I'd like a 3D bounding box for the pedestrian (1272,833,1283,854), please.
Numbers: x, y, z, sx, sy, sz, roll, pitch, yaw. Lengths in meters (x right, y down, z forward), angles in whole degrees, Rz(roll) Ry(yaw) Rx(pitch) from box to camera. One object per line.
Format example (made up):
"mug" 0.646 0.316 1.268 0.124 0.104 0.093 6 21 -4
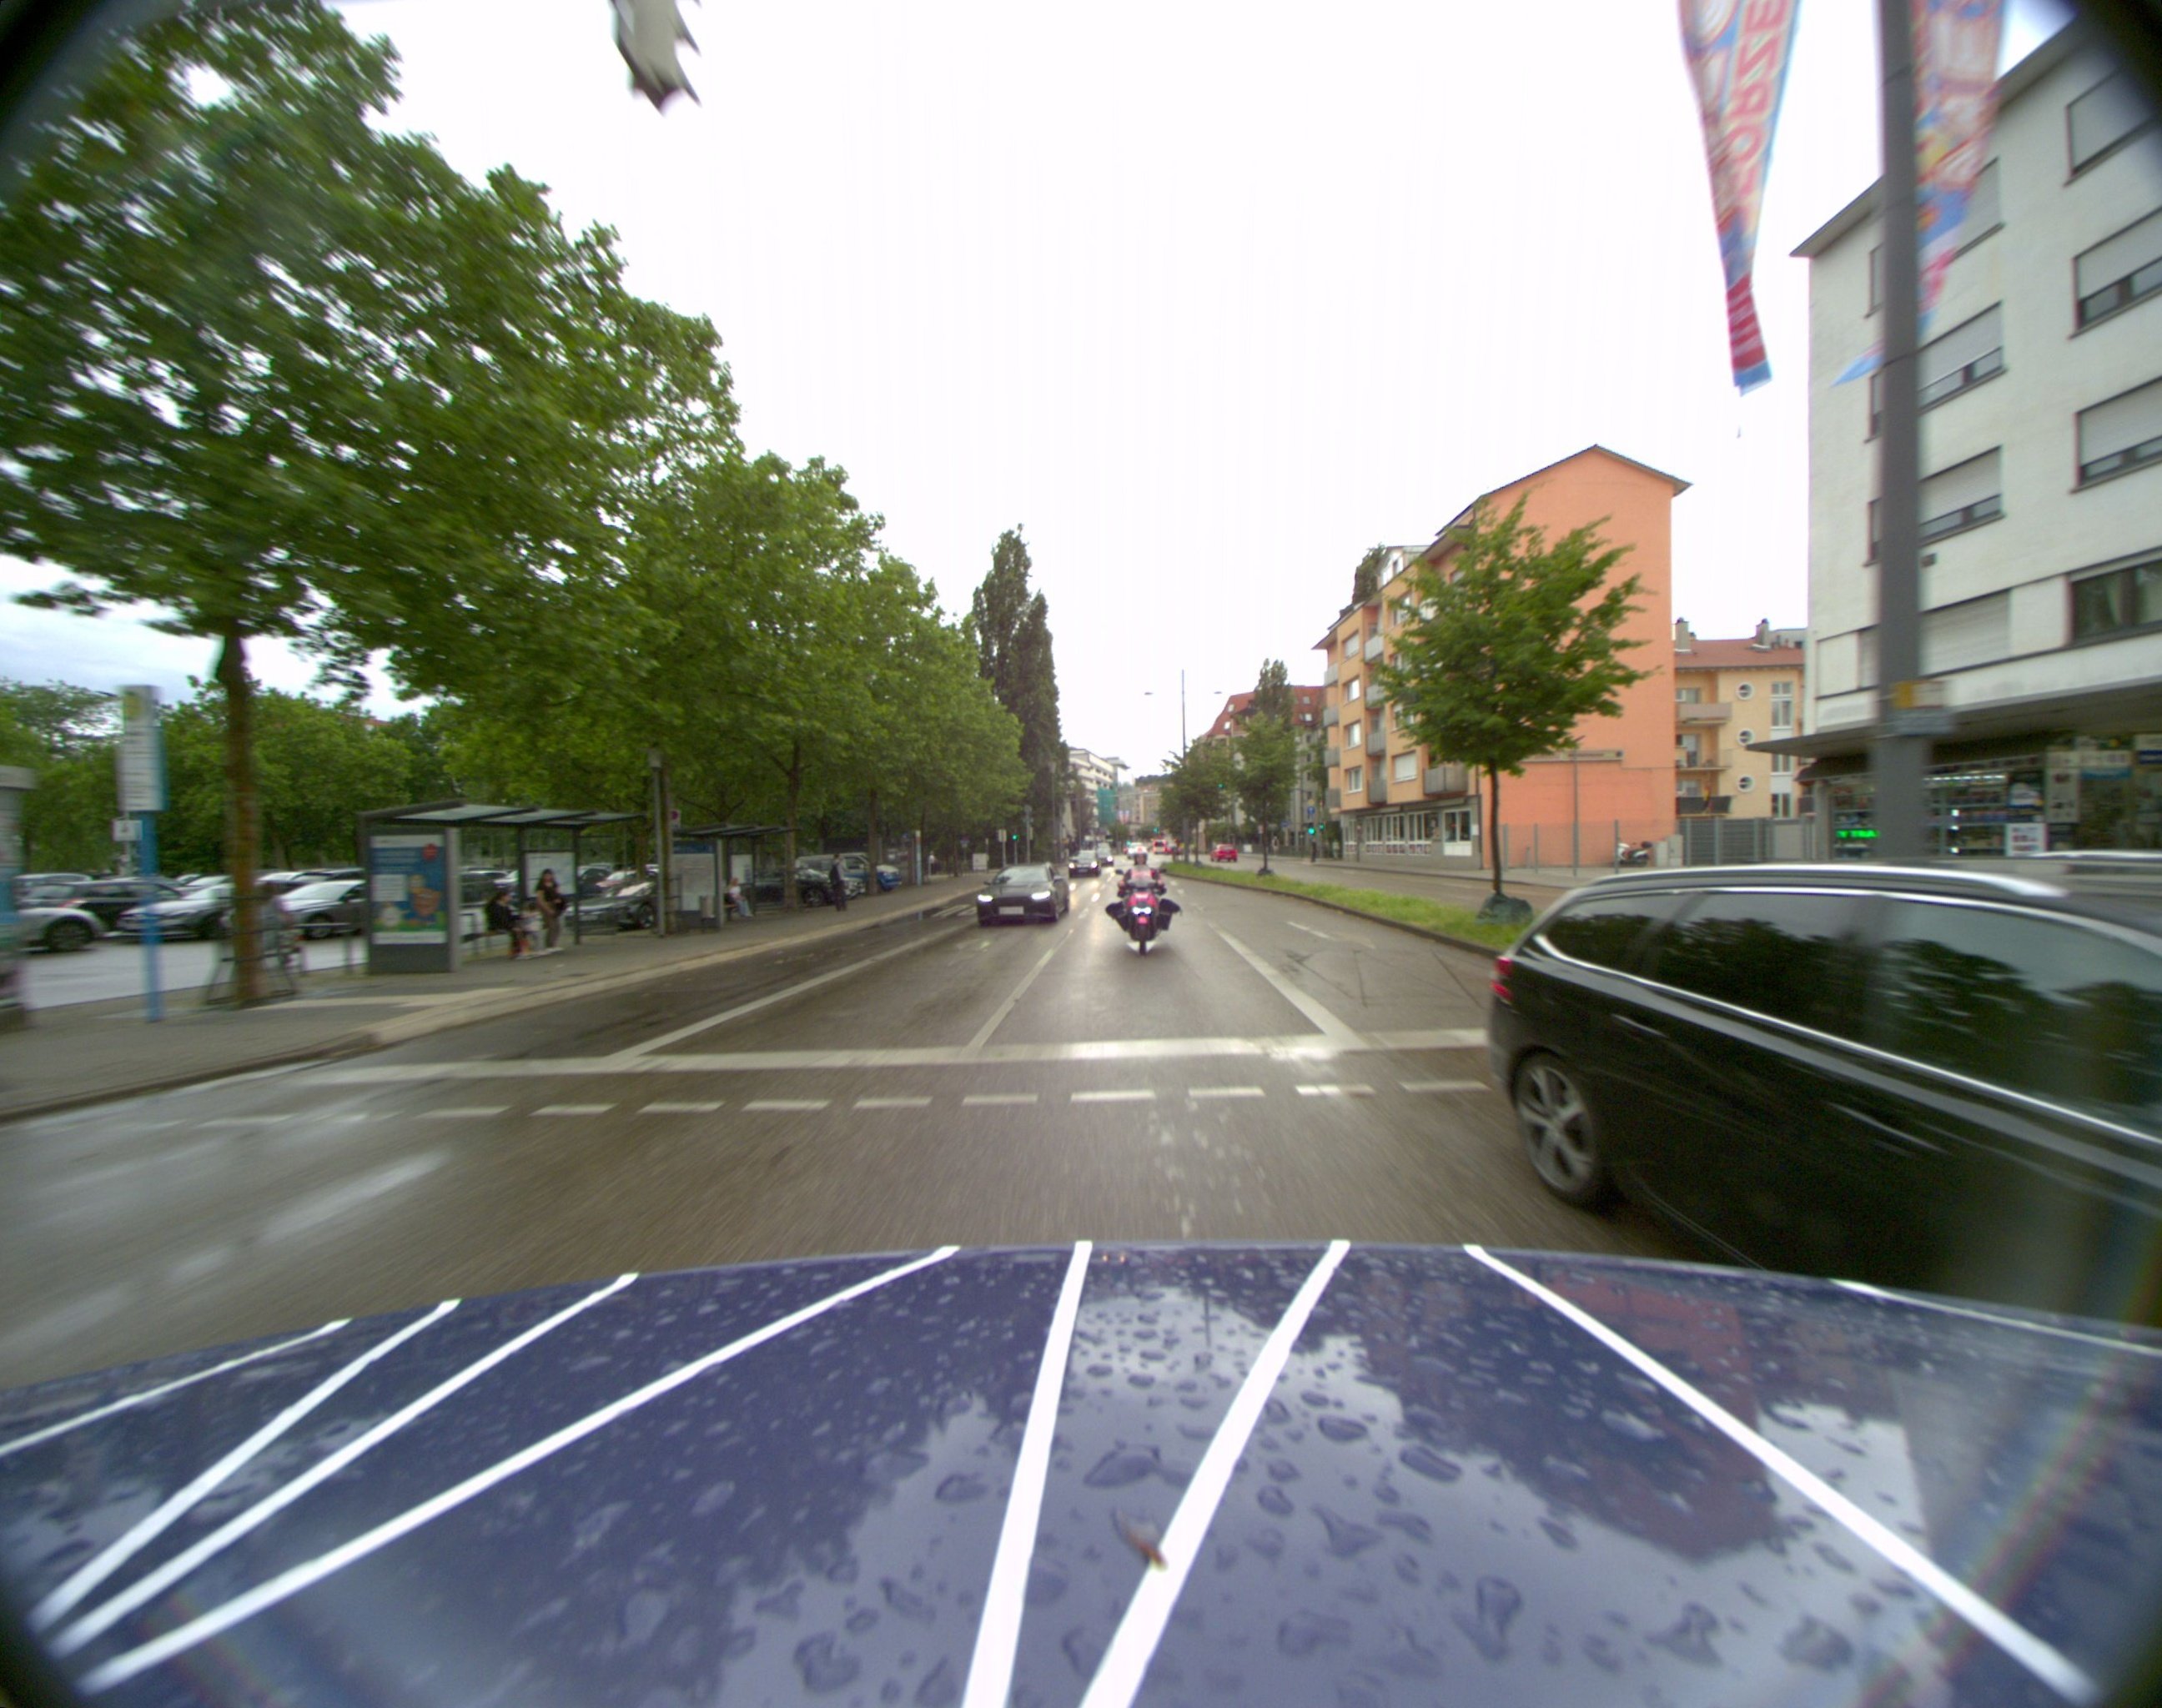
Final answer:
"pedestrian" 18.046 -0.951 69.734 0.746 1.876 0.800 -1 1 -2

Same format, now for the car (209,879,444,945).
"car" -19.518 1.434 20.001 1.737 1.431 4.445 0 0 0

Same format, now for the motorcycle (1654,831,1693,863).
"motorcycle" 27.829 -0.336 35.703 1.467 1.454 0.397 1 2 1

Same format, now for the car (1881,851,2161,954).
"car" 15.396 0.661 11.721 1.680 1.384 4.151 1 0 -1

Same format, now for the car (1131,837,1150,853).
"car" 6.078 -0.865 77.404 1.895 1.567 4.362 0 0 6

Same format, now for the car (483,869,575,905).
"car" -26.342 1.540 36.400 1.531 1.583 3.612 0 0 6

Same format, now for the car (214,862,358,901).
"car" -37.099 1.227 35.666 1.972 1.660 4.630 0 0 -2

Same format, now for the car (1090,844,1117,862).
"car" 1.783 -0.111 62.512 1.897 1.413 4.359 0 0 -3

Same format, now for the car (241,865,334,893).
"car" -47.147 1.441 45.271 1.639 1.416 3.597 -2 1 1

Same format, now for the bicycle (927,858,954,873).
"bicycle" -10.786 0.870 58.401 1.934 1.088 0.649 -2 2 -15

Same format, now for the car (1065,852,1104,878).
"car" 0.265 0.592 44.059 1.895 1.391 4.362 0 0 6

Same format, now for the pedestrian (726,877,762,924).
"pedestrian" -9.923 1.366 22.396 0.632 1.314 0.626 -2 2 16

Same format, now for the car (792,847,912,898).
"car" -10.642 0.843 35.533 4.846 1.931 1.951 -4 1 5

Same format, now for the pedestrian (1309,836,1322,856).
"pedestrian" 17.453 -0.582 56.606 0.561 1.433 0.608 -5 1 -18

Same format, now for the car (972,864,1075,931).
"car" -1.393 1.057 20.206 1.896 1.396 4.362 -3 0 6

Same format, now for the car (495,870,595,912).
"car" -21.857 1.459 31.139 1.640 1.414 3.354 -2 1 0

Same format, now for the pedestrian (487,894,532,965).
"pedestrian" -10.535 1.381 14.022 0.499 1.263 0.402 -1 0 4

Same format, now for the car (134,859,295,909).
"car" -40.044 1.324 35.338 1.972 2.142 4.883 0 0 -2

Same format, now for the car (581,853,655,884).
"car" -28.822 0.874 47.504 1.780 1.679 4.444 -2 1 1

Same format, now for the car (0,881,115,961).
"car" -22.701 1.379 15.052 1.761 1.581 4.177 0 0 1

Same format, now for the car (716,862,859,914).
"car" -10.647 1.221 27.813 4.412 1.476 1.863 -4 1 -1

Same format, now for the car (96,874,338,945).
"car" -22.319 1.360 19.907 1.761 1.581 4.000 0 0 1

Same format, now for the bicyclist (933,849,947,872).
"bicyclist" -10.845 0.488 58.351 0.988 1.760 0.796 -2 2 -15

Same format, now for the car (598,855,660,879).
"car" -31.134 0.866 52.432 1.780 1.498 3.881 -2 1 2

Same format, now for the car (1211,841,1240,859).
"car" 12.173 -0.324 64.224 1.607 1.422 3.944 1 1 -1

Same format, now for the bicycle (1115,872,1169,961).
"bicycle" 0.951 0.947 12.367 0.717 1.297 2.428 0 -1 1

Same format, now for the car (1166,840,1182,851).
"car" 11.661 -1.052 95.812 1.570 1.385 3.833 0 1 0

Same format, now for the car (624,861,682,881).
"car" -34.885 1.389 61.929 3.826 1.455 1.466 -1 1 -1

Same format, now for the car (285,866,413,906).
"car" -28.928 1.224 30.176 1.531 1.495 3.633 0 0 1

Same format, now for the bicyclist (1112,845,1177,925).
"bicyclist" 1.022 0.500 12.344 0.963 1.218 0.715 -2 -2 3

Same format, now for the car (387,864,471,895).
"car" -41.059 1.585 47.960 1.780 1.679 3.881 -2 1 1

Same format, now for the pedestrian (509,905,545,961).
"pedestrian" -10.526 1.502 14.443 0.401 1.028 0.370 -1 0 4

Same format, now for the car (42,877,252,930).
"car" -25.093 1.289 20.593 1.531 1.229 3.356 0 0 1

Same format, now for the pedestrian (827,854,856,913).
"pedestrian" -7.724 0.944 24.488 0.734 1.831 0.756 -3 2 -21

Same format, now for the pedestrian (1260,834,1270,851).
"pedestrian" 17.800 -1.104 73.634 0.766 1.685 0.800 -1 2 -2

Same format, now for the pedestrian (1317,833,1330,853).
"pedestrian" 20.822 -0.943 65.200 0.748 1.681 0.681 -2 2 -31

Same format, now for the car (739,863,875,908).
"car" -11.092 1.255 30.944 4.748 1.397 1.862 -4 1 5

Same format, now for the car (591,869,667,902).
"car" -21.706 1.477 36.643 1.532 1.419 3.836 0 0 -3

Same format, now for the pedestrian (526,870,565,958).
"pedestrian" -10.575 1.167 15.006 0.542 1.685 0.553 -1 0 -41

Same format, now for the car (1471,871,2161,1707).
"car" 2.791 0.887 1.647 1.803 1.426 4.396 -2 1 3

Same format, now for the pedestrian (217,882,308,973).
"pedestrian" -15.498 1.368 14.408 0.767 1.623 0.861 -1 0 3

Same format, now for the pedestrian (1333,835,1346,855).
"pedestrian" 21.841 -0.764 64.205 0.684 1.639 0.744 -2 2 -36
